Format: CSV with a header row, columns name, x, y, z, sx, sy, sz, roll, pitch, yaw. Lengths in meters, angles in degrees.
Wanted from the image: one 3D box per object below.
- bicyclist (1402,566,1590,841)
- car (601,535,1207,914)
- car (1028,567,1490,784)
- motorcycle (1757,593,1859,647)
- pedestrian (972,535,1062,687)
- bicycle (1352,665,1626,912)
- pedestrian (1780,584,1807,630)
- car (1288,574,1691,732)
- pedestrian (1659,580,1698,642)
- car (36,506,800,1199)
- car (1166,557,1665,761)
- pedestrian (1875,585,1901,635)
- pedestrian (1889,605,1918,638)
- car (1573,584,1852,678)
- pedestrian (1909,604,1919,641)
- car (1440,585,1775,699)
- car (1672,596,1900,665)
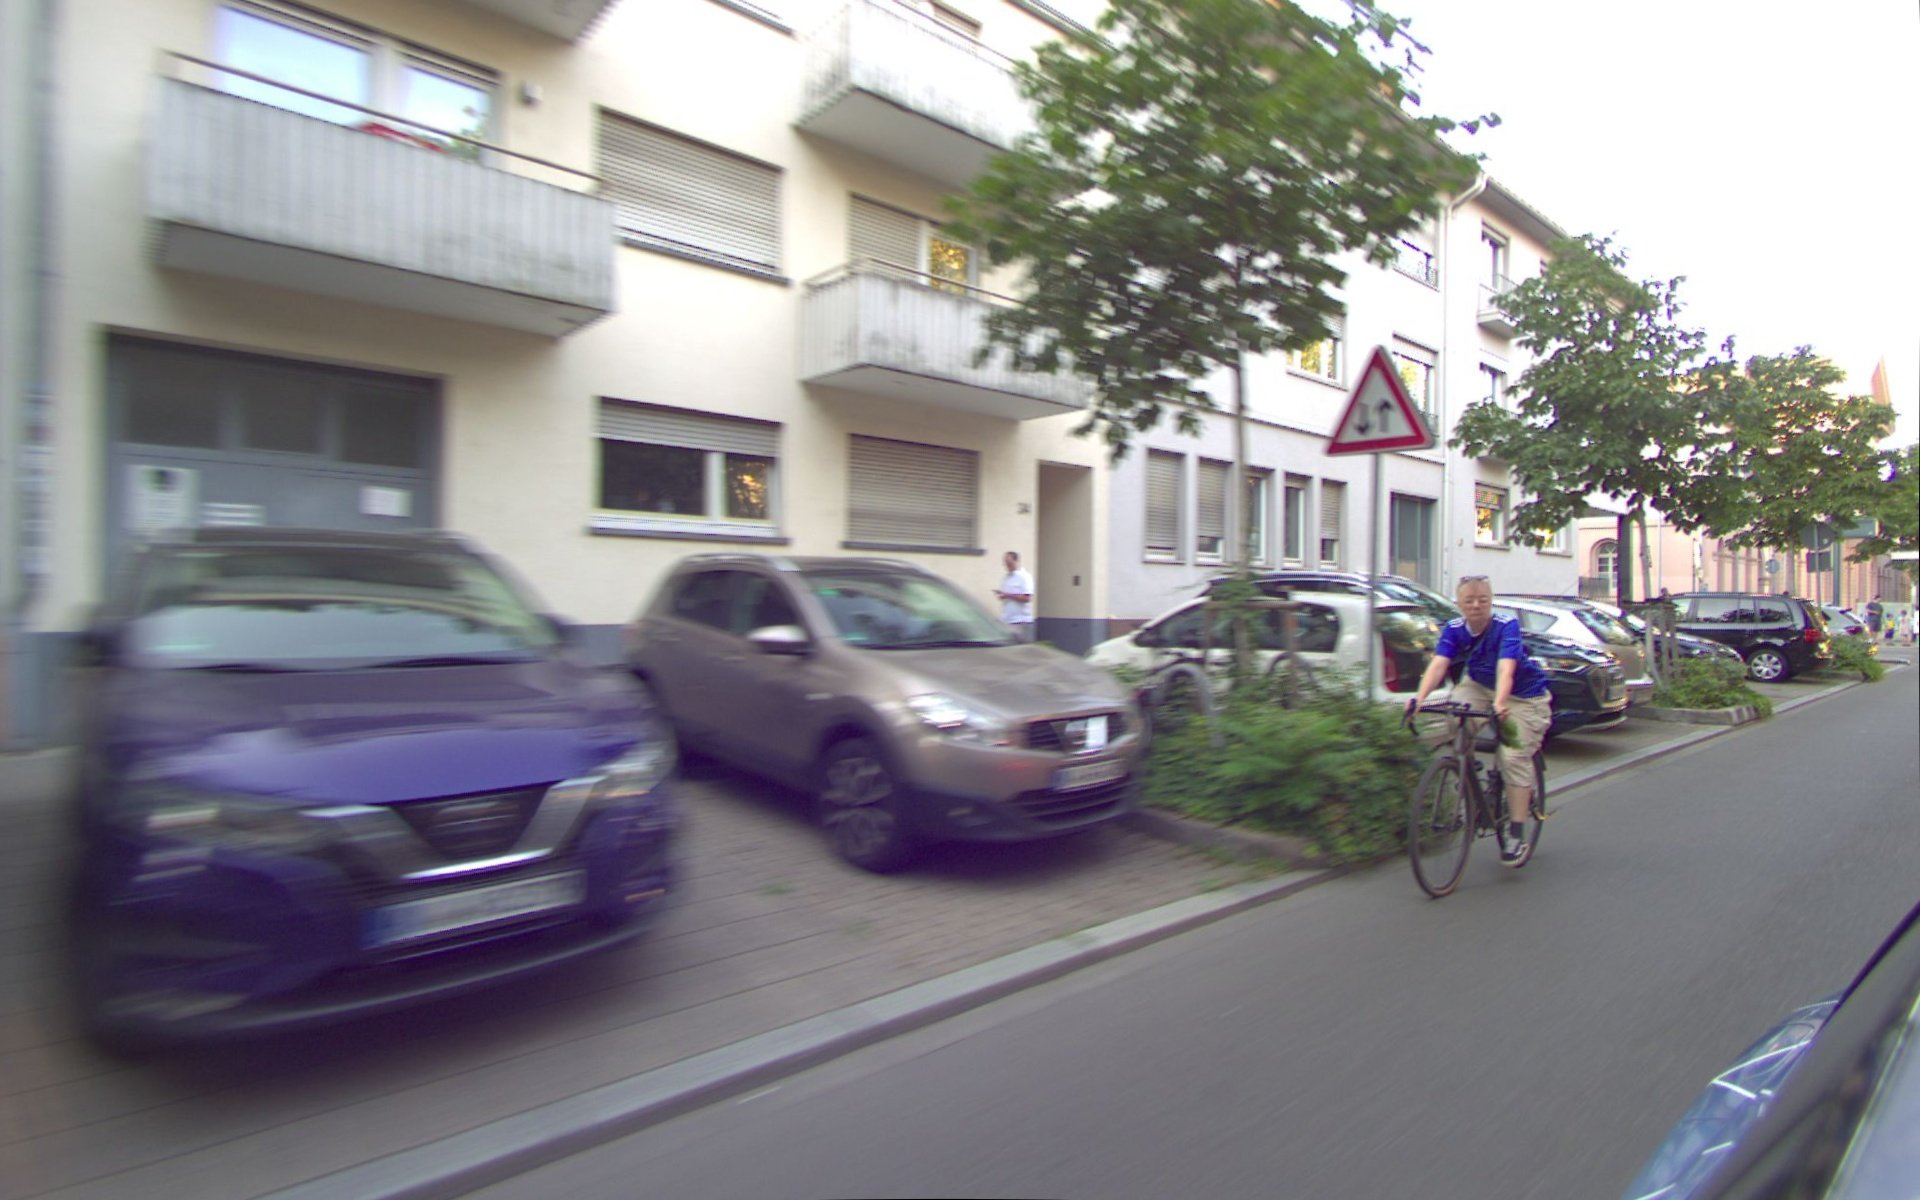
name,x,y,z,sx,sy,sz,roll,pitch,yaw
bicyclist,2.966,0.528,5.601,0.763,1.381,0.673,1,-2,-41
car,-0.633,0.461,6.592,1.820,1.597,3.973,0,4,-42
car,2.599,0.514,9.485,1.668,1.440,3.800,0,4,-42
motorcycle,23.433,0.523,27.995,0.979,1.410,1.916,0,1,-28
pedestrian,0.712,0.129,12.630,0.865,1.818,0.698,1,0,-40
bicycle,2.966,0.931,5.581,1.942,1.043,0.673,1,-2,-41
pedestrian,34.452,0.281,41.837,1.032,1.878,0.698,1,1,-43
car,6.475,0.518,12.771,1.785,1.446,4.086,0,4,-39
pedestrian,21.586,0.321,30.401,1.047,1.818,0.698,1,0,-41
car,-2.683,0.454,4.397,1.936,1.597,4.163,0,4,-42
car,4.756,0.445,11.172,1.911,1.597,4.599,0,4,-42
pedestrian,33.710,0.350,36.763,0.565,1.796,0.544,1,2,-40
pedestrian,34.168,0.761,36.643,0.535,1.159,0.493,2,1,-4
car,14.750,0.529,20.019,1.926,1.638,4.117,0,0,-40
pedestrian,34.095,0.792,35.991,0.450,1.277,0.482,3,2,43
car,10.498,0.574,16.668,1.763,1.514,4.322,0,2,-42
car,19.685,0.659,24.243,1.762,1.456,3.995,0,1,-40
